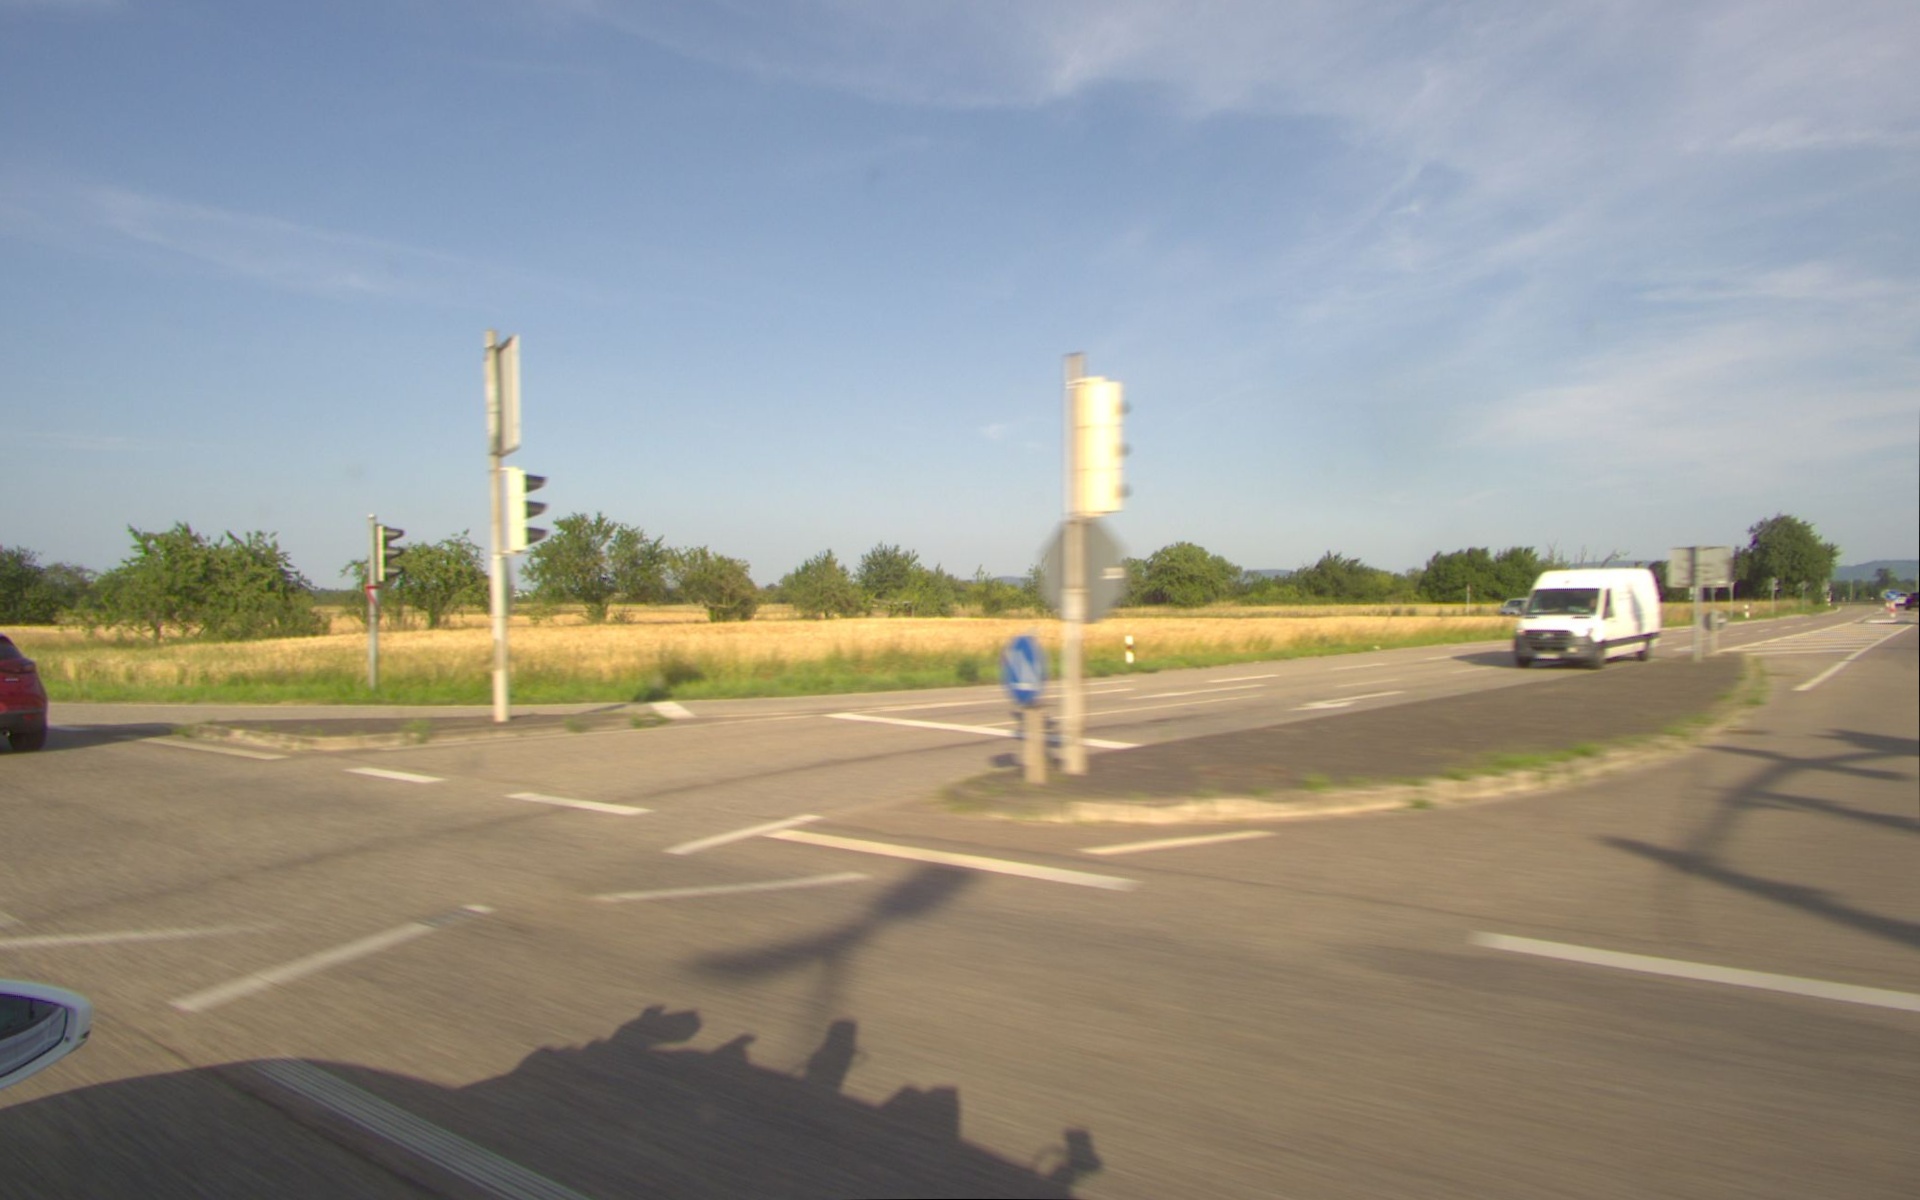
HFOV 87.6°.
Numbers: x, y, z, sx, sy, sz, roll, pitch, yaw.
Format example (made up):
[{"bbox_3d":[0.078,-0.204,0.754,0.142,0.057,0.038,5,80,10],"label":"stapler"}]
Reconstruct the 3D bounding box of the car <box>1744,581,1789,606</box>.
[{"bbox_3d":[62.349,-0.459,77.407,3.953,1.776,1.833,2,-2,-38],"label":"car"}]

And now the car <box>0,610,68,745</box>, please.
[{"bbox_3d":[-12.811,0.891,12.236,4.437,1.525,1.701,-1,-2,33],"label":"car"}]

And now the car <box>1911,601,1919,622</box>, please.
[{"bbox_3d":[82.336,0.996,85.381,1.746,1.739,3.730,-1,-2,45],"label":"car"}]

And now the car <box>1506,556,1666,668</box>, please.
[{"bbox_3d":[17.380,0.303,27.568,7.144,2.704,2.072,0,0,-44],"label":"car"}]
